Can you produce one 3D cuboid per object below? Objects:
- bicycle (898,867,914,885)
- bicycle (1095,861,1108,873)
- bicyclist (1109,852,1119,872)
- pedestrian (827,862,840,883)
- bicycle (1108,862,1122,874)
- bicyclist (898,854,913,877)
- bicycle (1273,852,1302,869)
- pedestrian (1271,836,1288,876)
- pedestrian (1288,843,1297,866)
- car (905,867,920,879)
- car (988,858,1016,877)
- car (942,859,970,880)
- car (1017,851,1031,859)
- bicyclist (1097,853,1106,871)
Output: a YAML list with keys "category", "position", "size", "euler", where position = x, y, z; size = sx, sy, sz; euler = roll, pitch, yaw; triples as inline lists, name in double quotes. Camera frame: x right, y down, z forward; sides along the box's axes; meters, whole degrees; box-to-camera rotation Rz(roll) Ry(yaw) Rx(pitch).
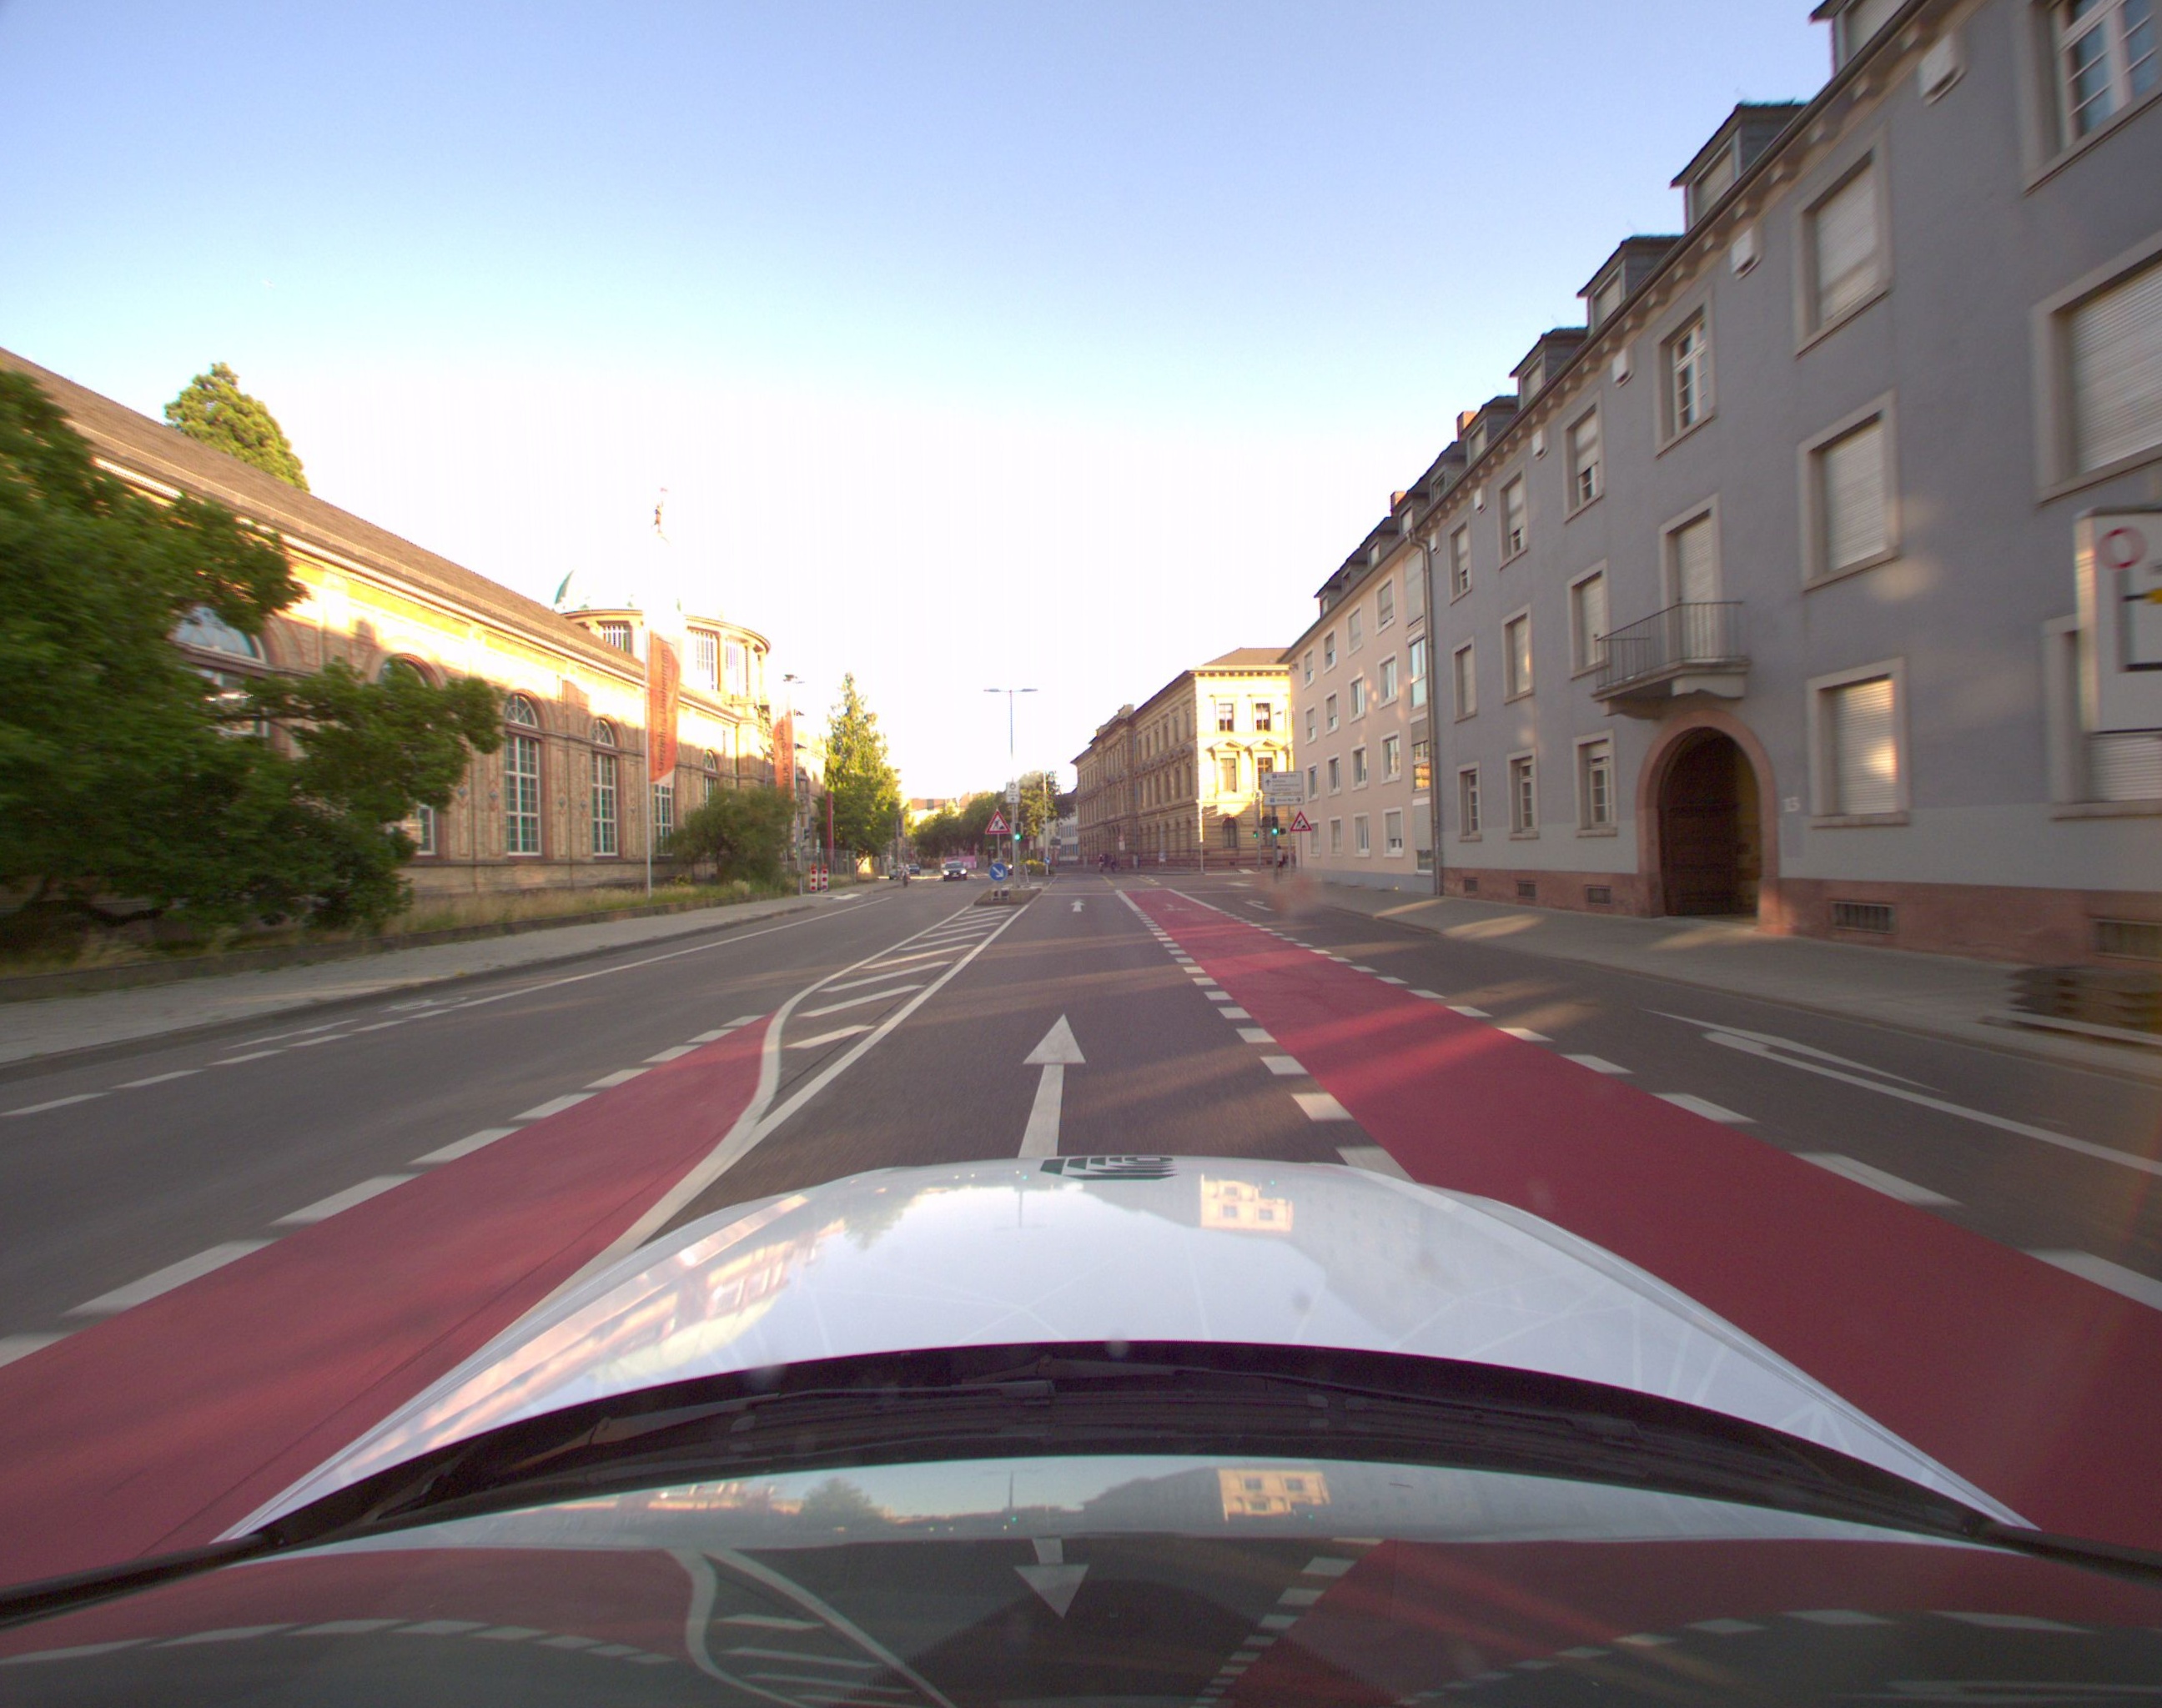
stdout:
- category: "bicycle"
  position: [-11.350, 1.390, 52.830]
  size: [0.752, 1.090, 1.928]
  euler: [-4, 0, -6]
- category: "bicycle"
  position: [1.836, 1.192, 73.285]
  size: [0.671, 1.071, 1.890]
  euler: [0, -1, -16]
- category: "bicyclist"
  position: [2.986, 0.742, 73.485]
  size: [0.650, 1.760, 0.860]
  euler: [0, -1, -14]
- category: "pedestrian"
  position: [-19.104, 1.405, 62.882]
  size: [0.734, 1.579, 0.761]
  euler: [-2, 0, -6]
- category: "bicycle"
  position: [3.036, 1.260, 73.284]
  size: [0.653, 1.071, 2.247]
  euler: [1, -1, -13]
- category: "bicyclist"
  position: [-11.397, 0.764, 52.890]
  size: [0.746, 1.460, 0.935]
  euler: [-3, 0, -6]
- category: "bicycle"
  position: [16.044, 0.524, 63.237]
  size: [2.045, 1.207, 0.861]
  euler: [-2, 2, -3]
- category: "pedestrian"
  position: [10.374, 0.112, 42.498]
  size: [0.779, 2.013, 0.998]
  euler: [-2, 0, 15]
- category: "pedestrian"
  position: [17.224, 0.005, 66.325]
  size: [0.452, 1.858, 0.422]
  euler: [-1, -1, -42]
- category: "car"
  position: [-20.166, 2.231, 97.740]
  size: [1.681, 1.351, 3.871]
  euler: [-3, 0, -11]
- category: "car"
  position: [-7.125, 1.222, 73.570]
  size: [1.838, 1.547, 4.121]
  euler: [-2, 0, 3]
- category: "car"
  position: [-9.730, 1.191, 63.612]
  size: [1.821, 1.508, 4.418]
  euler: [-2, 0, -5]
- category: "car"
  position: [-11.760, 0.264, 167.468]
  size: [1.819, 1.560, 3.837]
  euler: [-1, -1, -21]
- category: "bicyclist"
  position: [1.847, 0.731, 73.272]
  size: [0.670, 1.566, 0.695]
  euler: [1, -1, -16]
